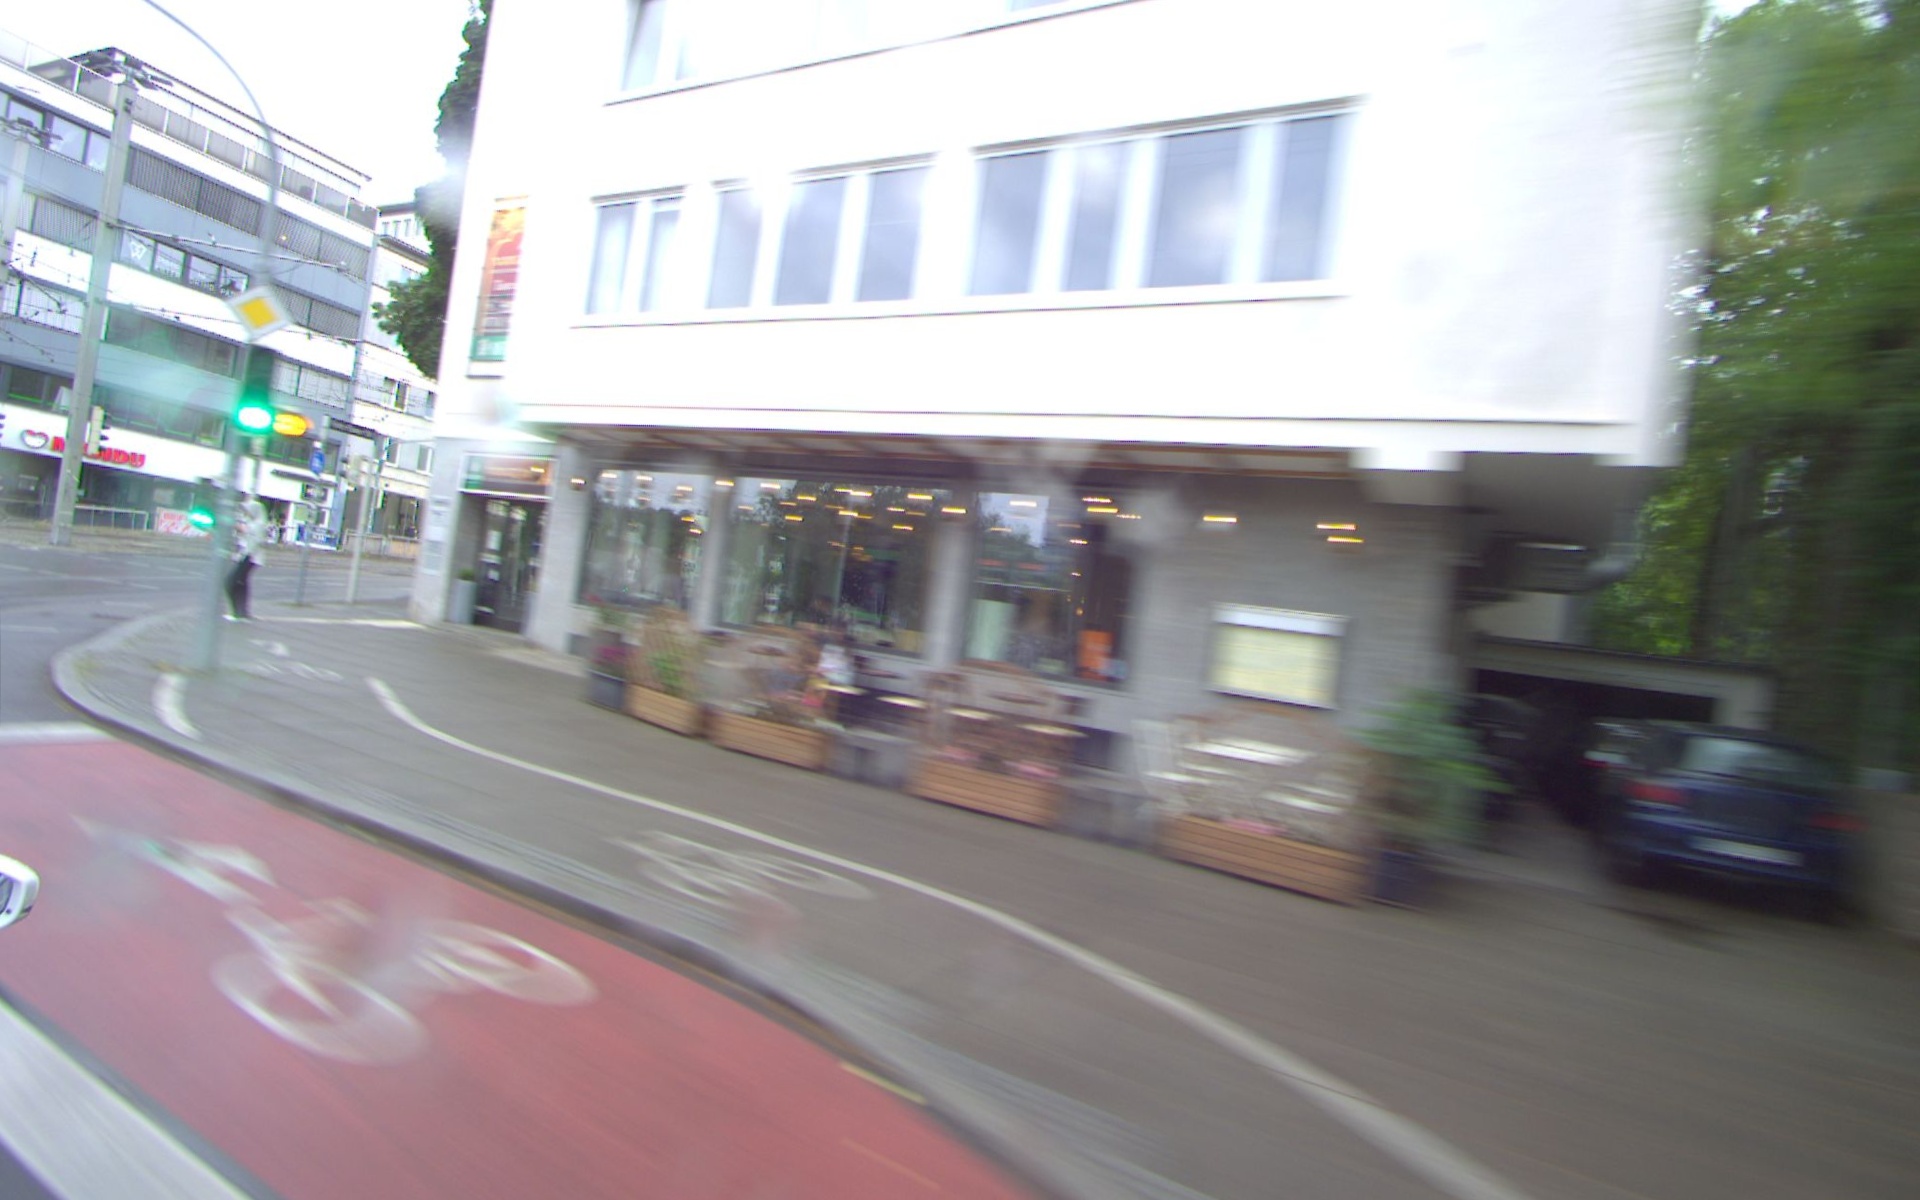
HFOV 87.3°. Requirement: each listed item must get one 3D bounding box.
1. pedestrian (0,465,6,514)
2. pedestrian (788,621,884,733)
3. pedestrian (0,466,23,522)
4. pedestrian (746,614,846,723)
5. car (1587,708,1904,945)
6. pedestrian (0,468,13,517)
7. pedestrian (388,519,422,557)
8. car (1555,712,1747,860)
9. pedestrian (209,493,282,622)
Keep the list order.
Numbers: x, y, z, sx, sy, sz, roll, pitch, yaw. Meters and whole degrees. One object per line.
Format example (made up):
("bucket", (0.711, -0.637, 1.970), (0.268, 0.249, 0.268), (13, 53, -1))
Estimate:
("pedestrian", (-34.842, -3.914, 35.948), (0.710, 1.937, 0.694), (7, 0, -23))
("pedestrian", (-1.459, 0.903, 11.924), (0.559, 1.206, 0.917), (8, 1, 29))
("pedestrian", (-34.981, -3.883, 36.774), (0.710, 1.937, 0.694), (7, 0, -23))
("pedestrian", (-1.983, 0.830, 12.242), (0.624, 1.206, 0.931), (8, 1, 29))
("car", (7.239, 1.958, 9.646), (1.770, 1.525, 3.191), (8, -1, 30))
("pedestrian", (-35.676, -4.017, 37.090), (0.708, 1.783, 0.696), (7, 0, -16))
("pedestrian", (-27.238, -3.032, 49.377), (0.874, 1.702, 0.997), (7, 1, 25))
("car", (8.945, 2.319, 13.271), (1.653, 1.379, 3.217), (8, -1, 30))
("pedestrian", (-10.131, -0.595, 14.277), (0.521, 1.733, 0.702), (7, 1, -22))
